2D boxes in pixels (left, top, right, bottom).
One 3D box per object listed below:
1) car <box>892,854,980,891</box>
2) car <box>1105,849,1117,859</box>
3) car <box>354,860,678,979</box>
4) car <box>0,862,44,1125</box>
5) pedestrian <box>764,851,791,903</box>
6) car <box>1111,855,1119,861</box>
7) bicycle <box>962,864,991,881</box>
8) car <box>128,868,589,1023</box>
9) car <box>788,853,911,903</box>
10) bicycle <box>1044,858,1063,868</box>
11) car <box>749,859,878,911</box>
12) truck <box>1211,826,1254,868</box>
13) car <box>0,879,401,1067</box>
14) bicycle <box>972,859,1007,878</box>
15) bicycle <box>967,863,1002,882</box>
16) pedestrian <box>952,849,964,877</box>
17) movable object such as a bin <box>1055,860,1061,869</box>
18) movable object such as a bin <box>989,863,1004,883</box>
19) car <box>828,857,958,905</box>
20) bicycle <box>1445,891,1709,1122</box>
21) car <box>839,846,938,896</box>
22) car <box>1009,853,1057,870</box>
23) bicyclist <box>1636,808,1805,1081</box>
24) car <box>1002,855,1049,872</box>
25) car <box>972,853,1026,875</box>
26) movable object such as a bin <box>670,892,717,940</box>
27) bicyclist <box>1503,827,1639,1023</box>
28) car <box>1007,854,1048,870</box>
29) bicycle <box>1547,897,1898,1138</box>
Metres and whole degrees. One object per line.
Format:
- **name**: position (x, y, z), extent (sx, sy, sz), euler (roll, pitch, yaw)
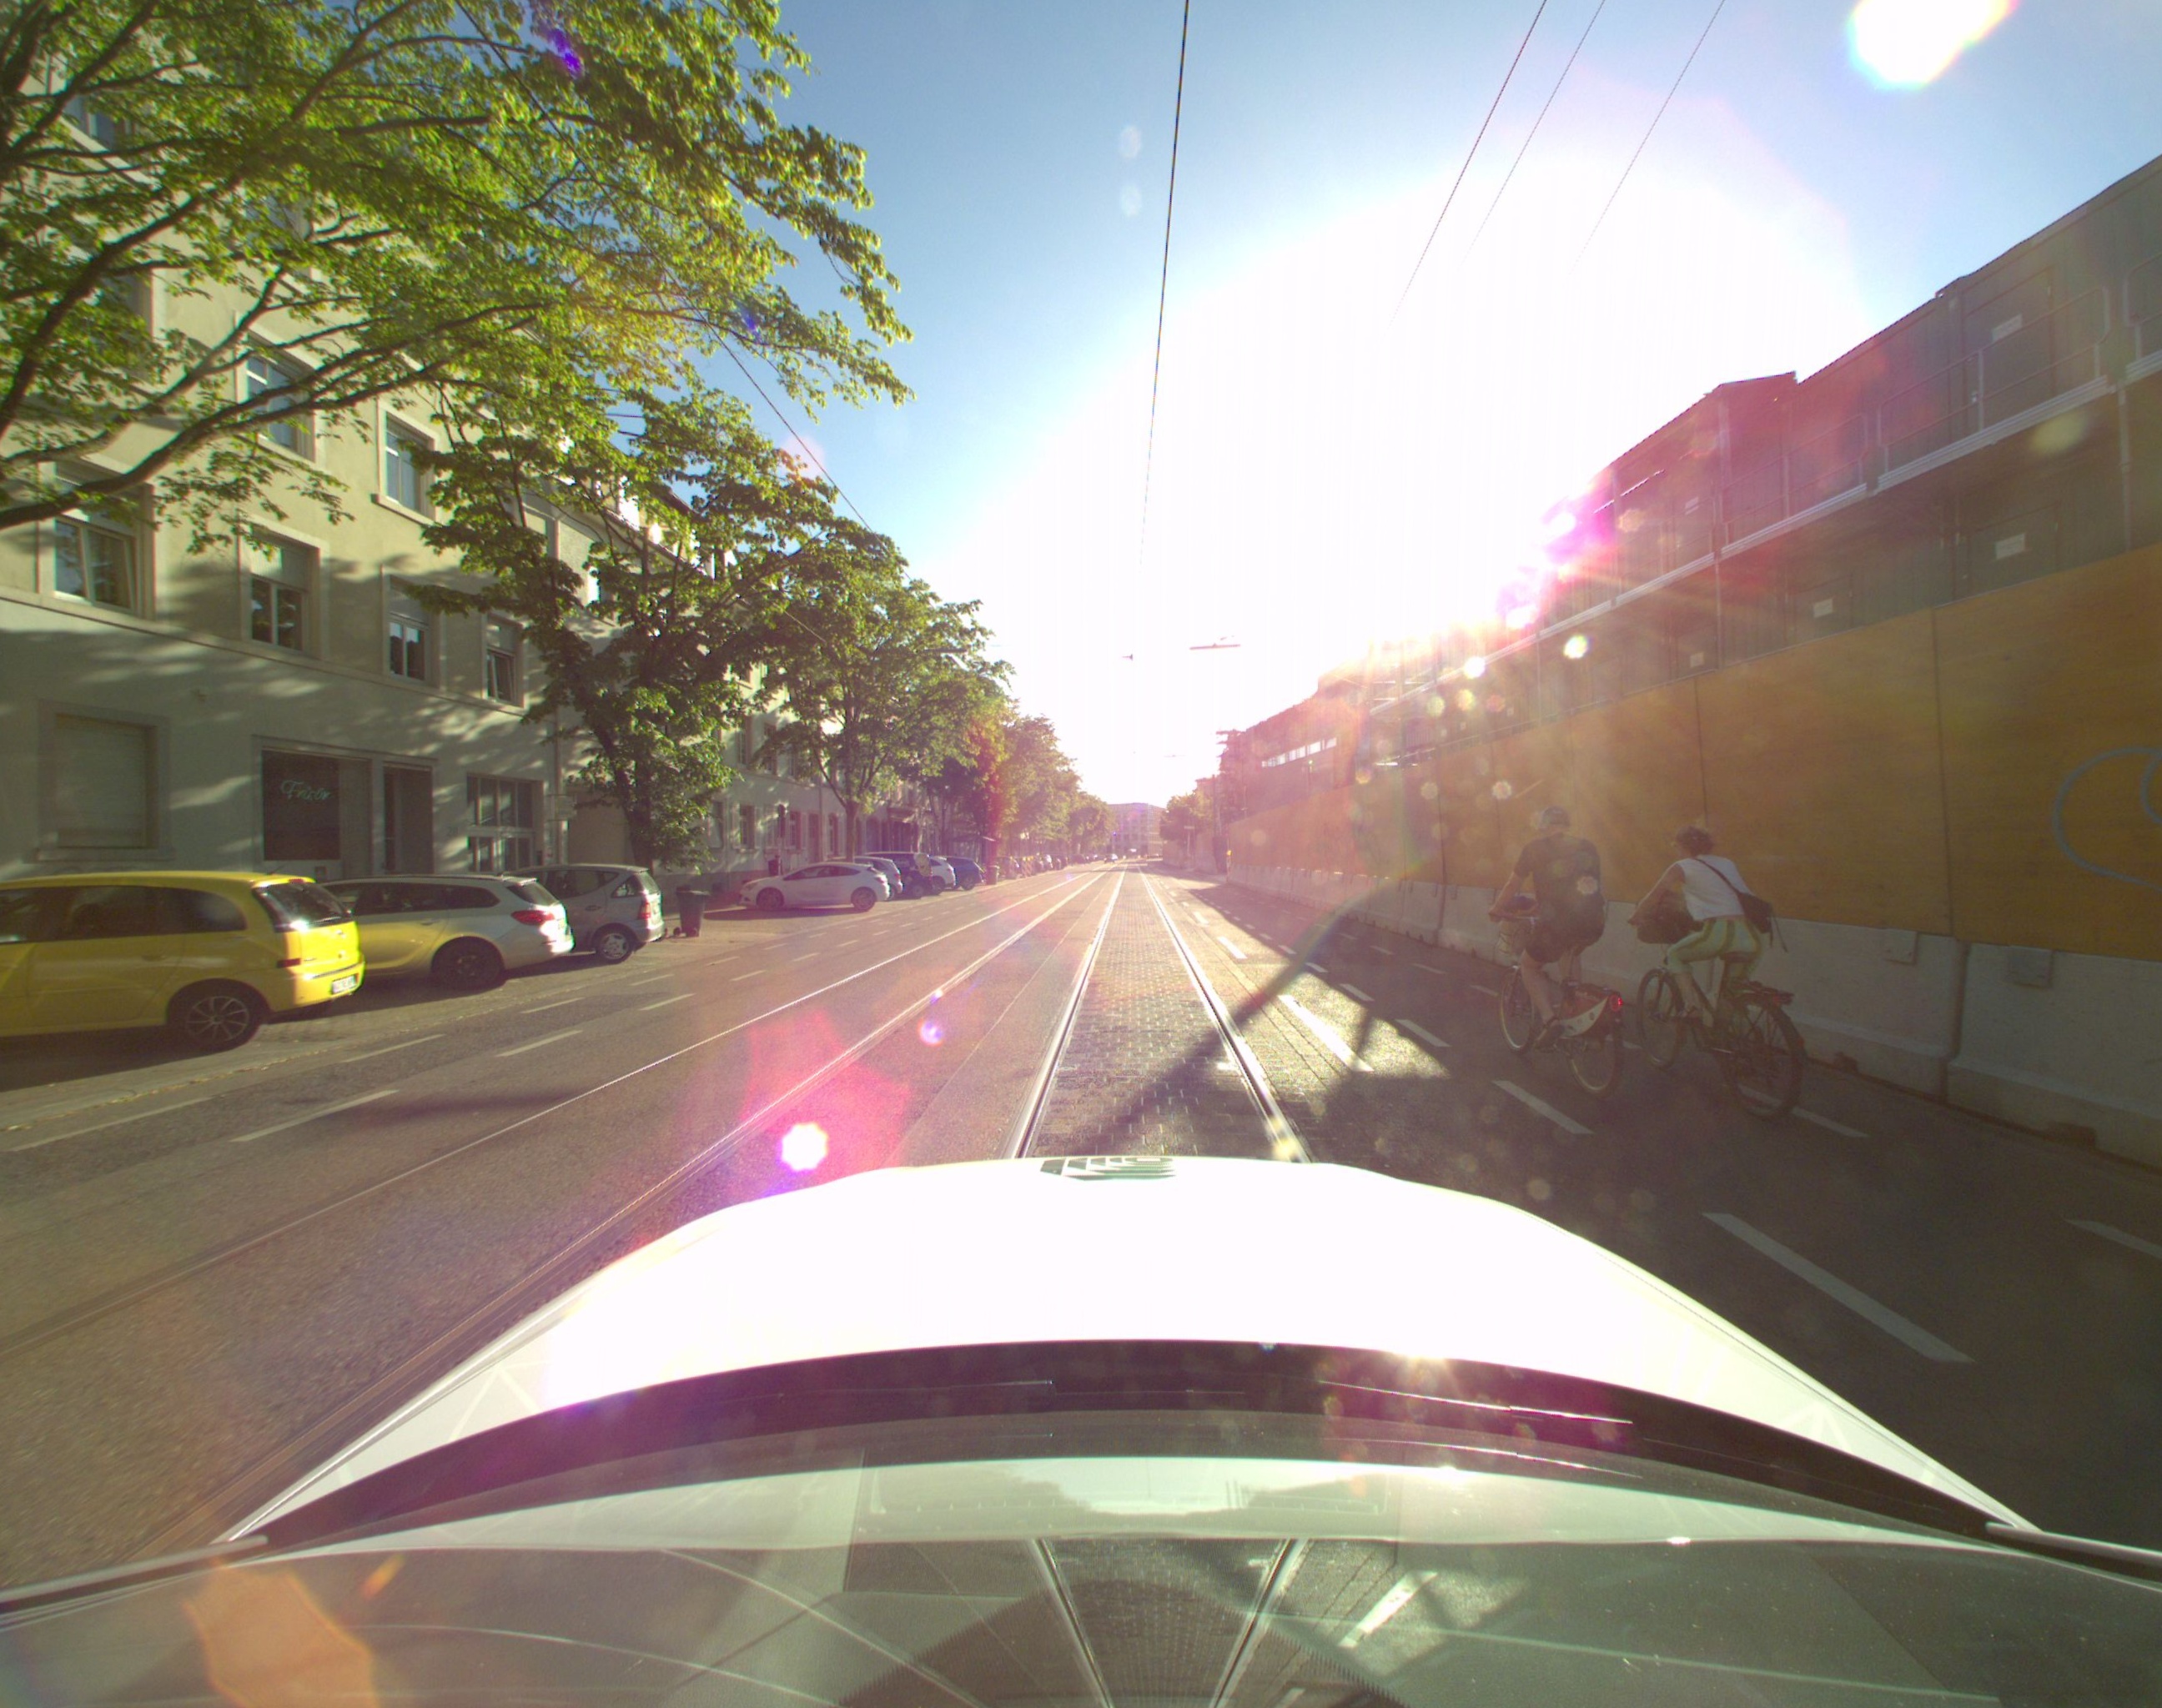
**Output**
- **car**: position (-7.070, 0.884, 39.805), extent (3.918, 1.609, 1.557), euler (-3, 0, -34)
- **car**: position (5.363, 0.024, 146.241), extent (1.920, 1.629, 4.252), euler (-5, 1, 3)
- **car**: position (-9.048, 0.985, 13.426), extent (3.993, 1.676, 1.694), euler (-1, 0, -15)
- **car**: position (-9.539, 0.987, 4.507), extent (4.811, 1.724, 2.164), euler (-2, 0, 1)
- **pedestrian**: position (-11.059, 0.831, 29.677), extent (0.640, 1.838, 0.625), euler (-2, 0, 5)
- **car**: position (8.510, 0.904, 203.454), extent (1.703, 1.436, 4.171), euler (-2, 0, 1)
- **bicycle**: position (-6.028, 1.066, 47.020), extent (1.598, 0.988, 0.388), euler (0, 0, -8)
- **car**: position (-9.159, 1.063, 10.806), extent (4.173, 1.552, 1.691), euler (-3, 0, -20)
- **car**: position (-8.373, 0.842, 29.495), extent (4.008, 1.656, 1.795), euler (1, 1, -27)
- **bicycle**: position (-2.940, 0.968, 86.965), extent (1.969, 1.144, 0.490), euler (0, -1, -15)
- **car**: position (-8.196, 0.944, 25.227), extent (3.644, 1.530, 1.876), euler (1, -1, -17)
- **truck**: position (11.412, -0.510, 61.722), extent (2.508, 2.909, 5.515), euler (-4, 0, 5)
- **car**: position (-8.797, 1.056, 7.631), extent (3.378, 1.553, 1.373), euler (2, -5, -24)
- **bicycle**: position (-5.599, 0.899, 50.013), extent (1.993, 1.087, 0.568), euler (3, 0, 5)
- **bicycle**: position (-5.773, 1.086, 48.692), extent (1.958, 1.079, 0.569), euler (1, 0, 5)
- **pedestrian**: position (-9.136, 0.670, 60.671), extent (0.728, 2.013, 0.557), euler (-2, 0, 4)
- **movable object such as a bin**: position (-2.407, 1.083, 86.342), extent (0.576, 0.913, 0.573), euler (0, 1, -13)
- **movable object such as a bin**: position (-4.806, 1.076, 46.330), extent (0.680, 1.078, 0.711), euler (1, 0, 5)
- **car**: position (-8.025, 1.112, 34.843), extent (4.959, 1.794, 2.186), euler (-2, 0, -33)
- **bicycle**: position (3.251, 0.897, 5.650), extent (0.664, 1.154, 2.280), euler (0, 0, 6)
- **car**: position (-7.563, 0.704, 32.090), extent (3.456, 1.843, 1.716), euler (1, -3, -30)
- **car**: position (-4.553, 0.680, 77.091), extent (4.122, 1.512, 1.827), euler (0, 0, -23)
- **bicyclist**: position (4.021, 0.541, 5.159), extent (0.554, 1.613, 0.576), euler (-3, 0, 1)
- **car**: position (-4.865, 0.797, 71.334), extent (3.690, 1.470, 1.739), euler (0, -1, -26)
- **car**: position (-5.941, 0.704, 59.102), extent (3.628, 1.553, 1.656), euler (0, 1, -23)
- **movable object such as a bin**: position (-8.126, 1.289, 17.096), extent (0.619, 0.945, 0.670), euler (-2, 0, 2)
- **bicyclist**: position (3.264, 0.459, 5.453), extent (0.649, 1.238, 0.354), euler (-3, 0, 1)
- **car**: position (-4.856, 0.718, 74.199), extent (3.379, 1.493, 1.600), euler (0, 0, -25)
- **bicycle**: position (4.057, 0.928, 5.465), extent (0.555, 1.127, 2.276), euler (-3, 0, 1)
